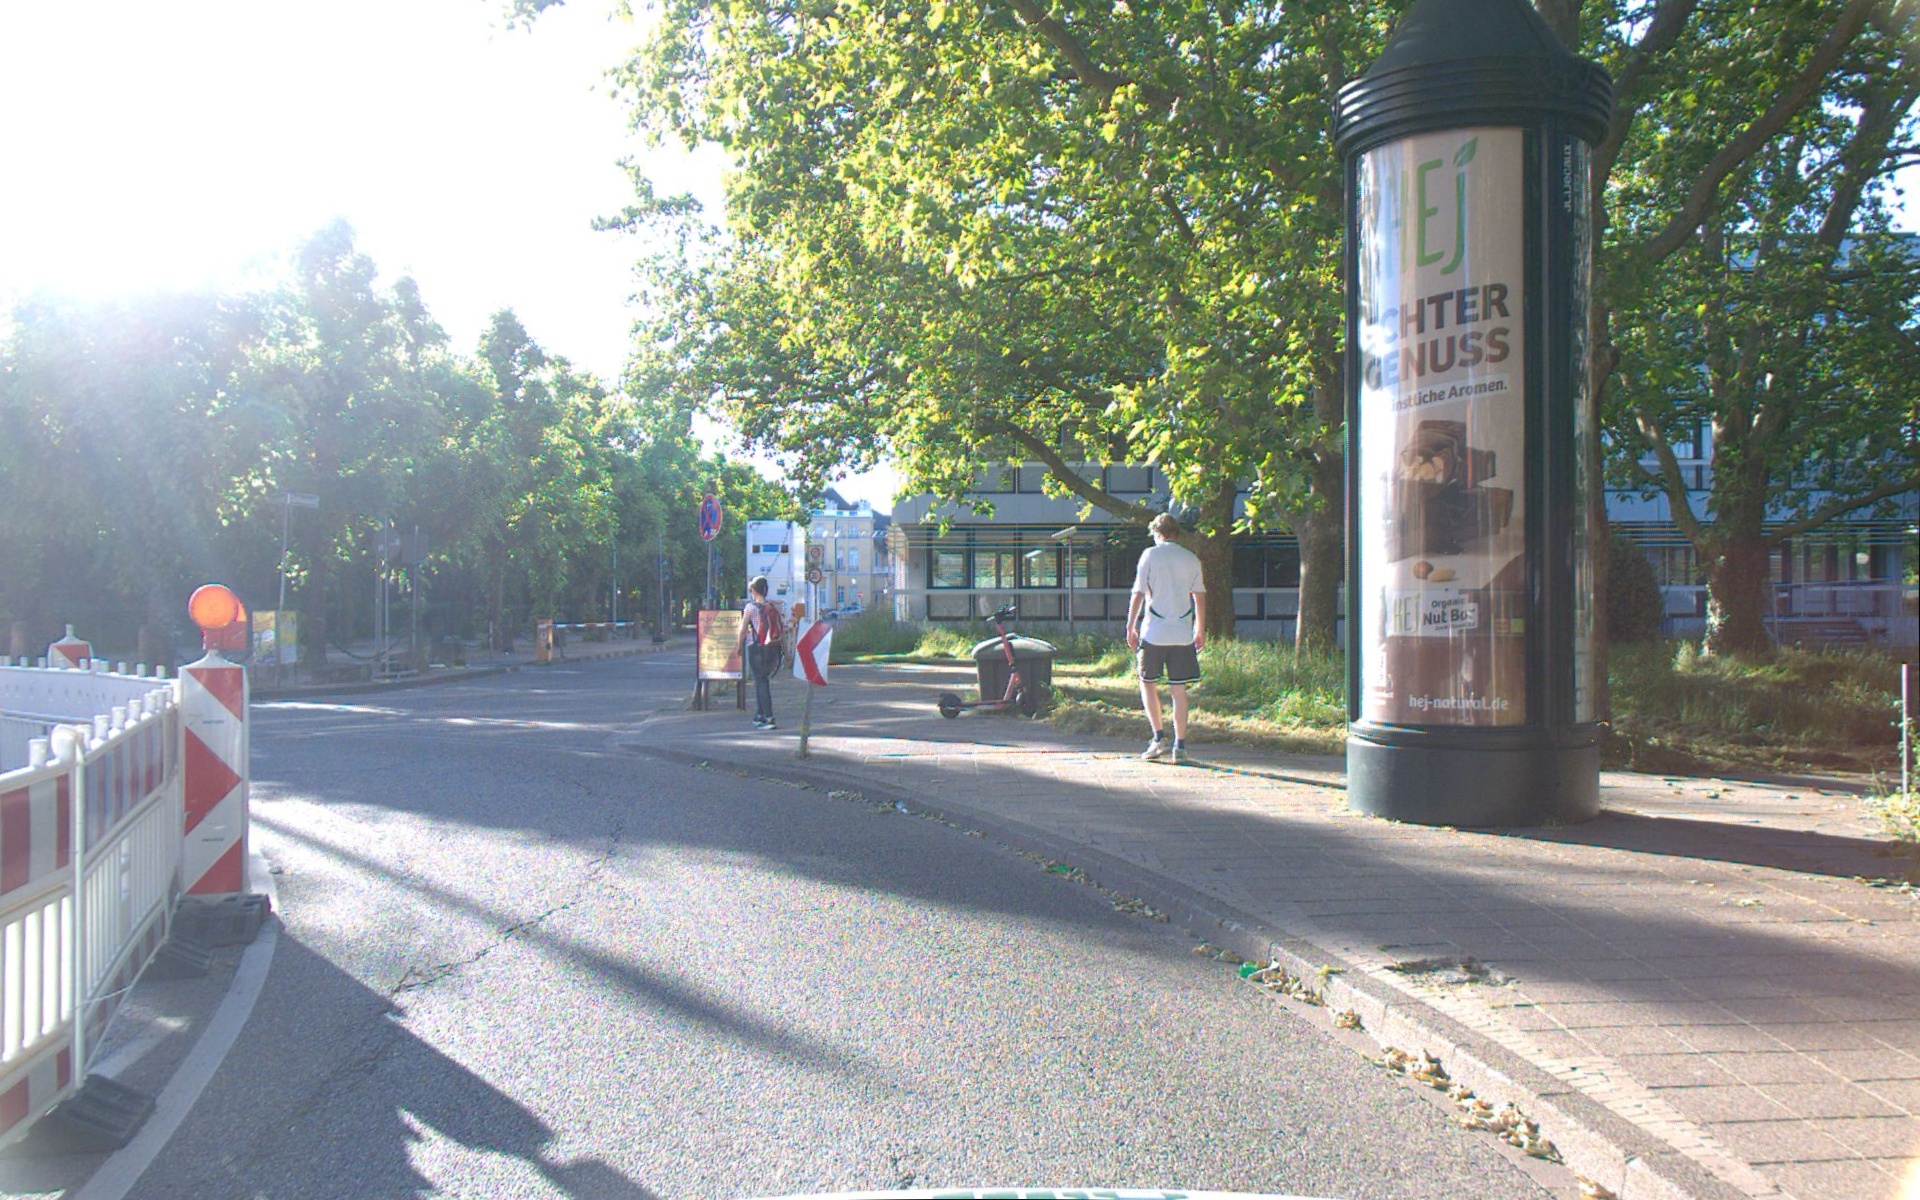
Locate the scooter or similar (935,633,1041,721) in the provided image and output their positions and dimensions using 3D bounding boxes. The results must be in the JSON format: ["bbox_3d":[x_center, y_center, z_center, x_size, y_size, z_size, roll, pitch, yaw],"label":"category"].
[{"bbox_3d":[0.315,0.865,18.718,1.125,0.930,0.419,-2,-1,-8],"label":"scooter or similar"}]

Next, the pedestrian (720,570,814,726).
[{"bbox_3d":[-2.124,0.519,18.112,0.701,1.652,0.929,0,-1,-32],"label":"pedestrian"}]

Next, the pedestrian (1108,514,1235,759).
[{"bbox_3d":[1.659,0.282,13.122,0.730,1.844,1.132,1,0,-6],"label":"pedestrian"}]

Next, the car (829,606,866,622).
[{"bbox_3d":[-13.961,1.735,205.358,4.465,1.822,1.999,1,0,-2],"label":"car"}]
